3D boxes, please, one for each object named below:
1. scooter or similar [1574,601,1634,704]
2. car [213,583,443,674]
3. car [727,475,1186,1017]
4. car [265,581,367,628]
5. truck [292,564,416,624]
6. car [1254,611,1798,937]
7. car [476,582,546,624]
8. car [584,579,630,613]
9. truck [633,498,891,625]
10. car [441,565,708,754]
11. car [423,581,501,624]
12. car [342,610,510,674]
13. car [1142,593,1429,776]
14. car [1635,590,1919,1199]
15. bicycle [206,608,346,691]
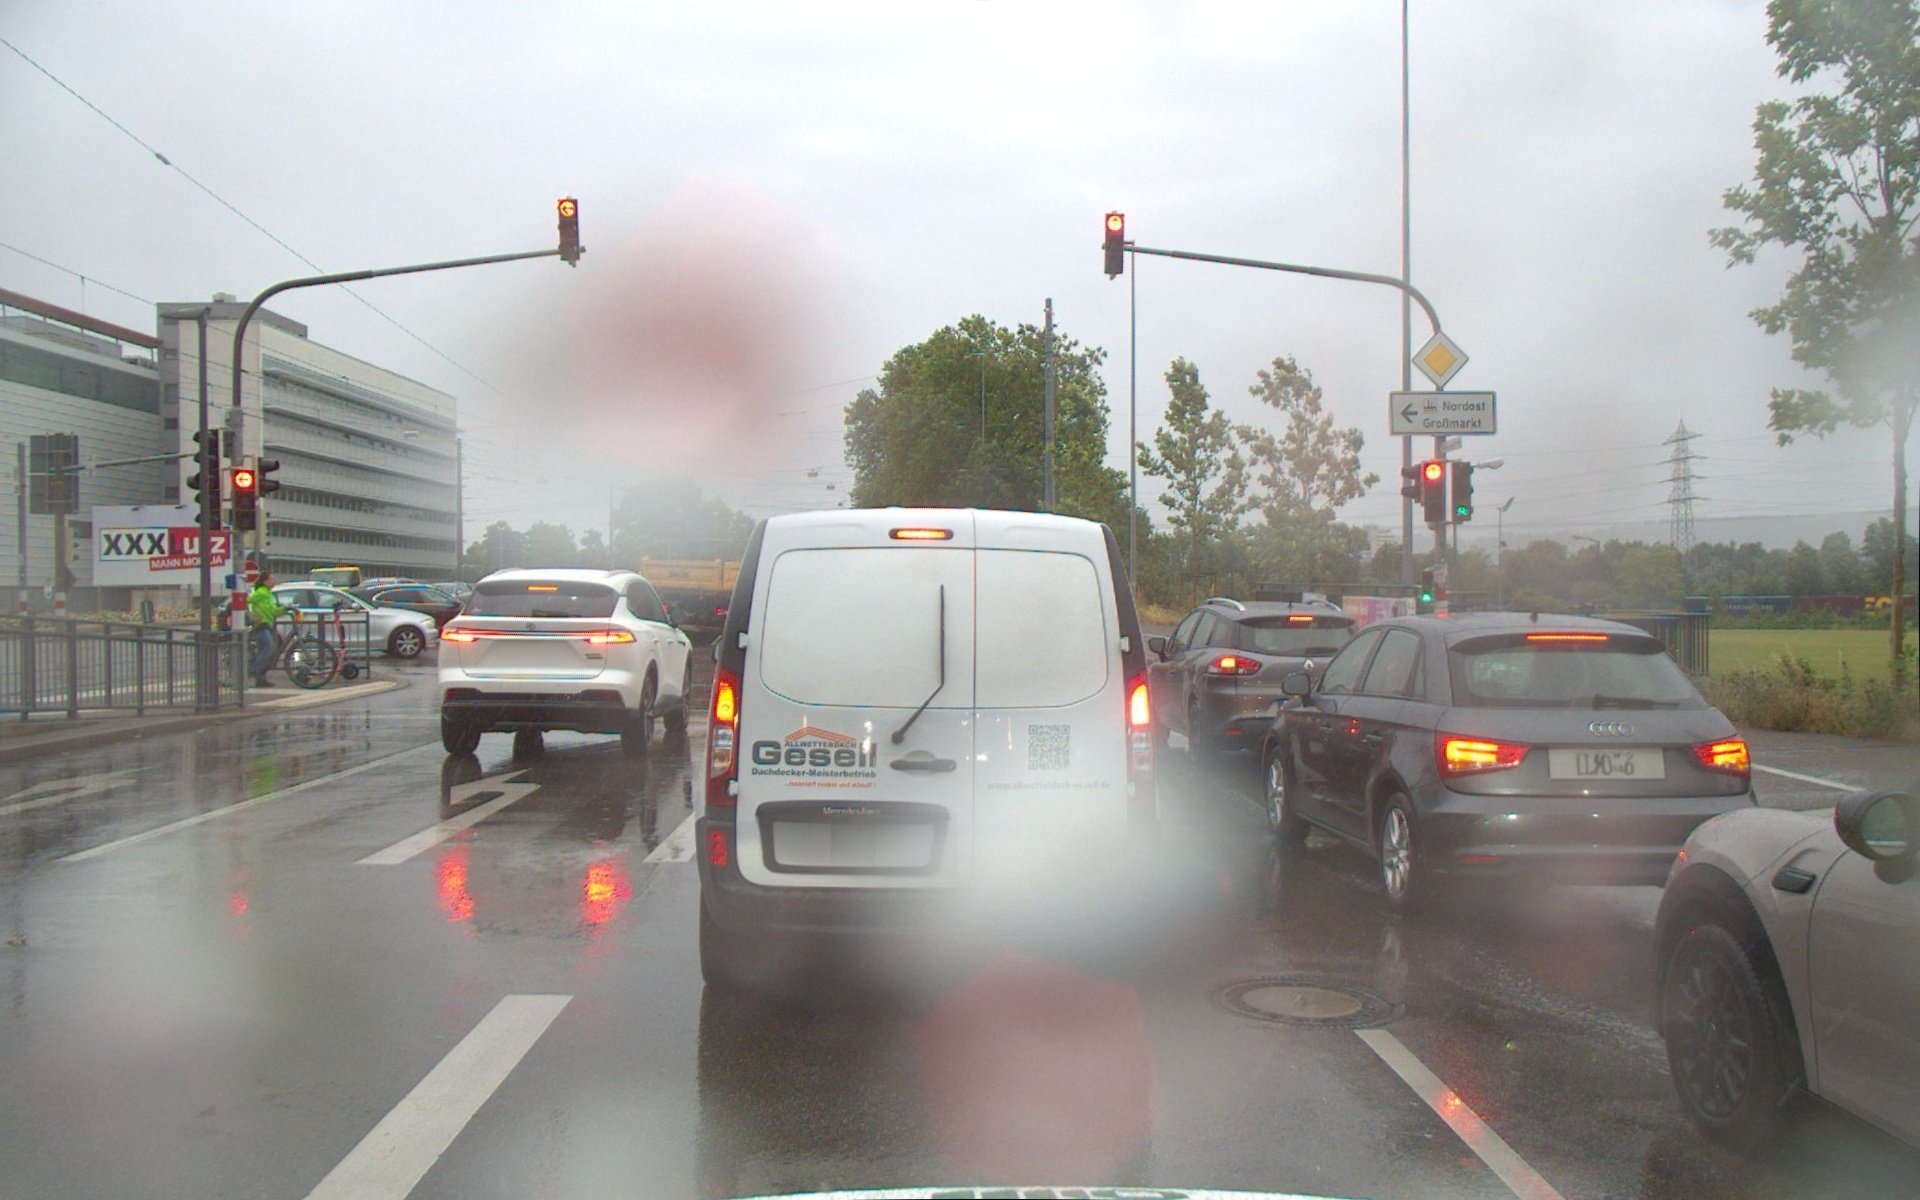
[{"bbox_3d":[7.599,0.606,19.534,0.240,1.178,1.186,1,0,1],"label":"scooter or similar"},{"bbox_3d":[-12.365,0.553,32.433,4.023,1.689,1.604,1,0,-30],"label":"car"},{"bbox_3d":[-0.035,0.498,7.586,1.534,1.819,3.999,0,0,-1],"label":"car"},{"bbox_3d":[-21.825,0.155,56.188,1.662,1.518,3.878,1,0,5],"label":"car"},{"bbox_3d":[-25.107,-0.232,68.919,2.303,2.319,7.632,1,0,0],"label":"truck"},{"bbox_3d":[2.774,0.768,8.951,1.596,1.368,3.622,1,0,-2],"label":"car"},{"bbox_3d":[-20.902,0.144,77.112,1.889,1.859,4.002,1,0,4],"label":"car"},{"bbox_3d":[-22.107,-0.217,103.638,1.952,2.049,4.000,1,0,1],"label":"car"},{"bbox_3d":[-4.750,-0.850,41.199,2.584,2.865,7.130,0,0,30],"label":"truck"},{"bbox_3d":[-3.578,0.479,16.109,1.694,1.562,4.296,1,1,-2],"label":"car"},{"bbox_3d":[-21.059,0.119,70.108,1.853,1.729,4.001,1,0,3],"label":"car"},{"bbox_3d":[-12.646,0.991,39.386,3.670,1.435,1.833,1,0,-15],"label":"car"},{"bbox_3d":[2.898,0.691,15.549,1.822,1.453,3.806,1,1,-2],"label":"car"},{"bbox_3d":[2.934,0.761,3.188,1.679,1.534,3.622,1,0,-2],"label":"car"},{"bbox_3d":[-9.612,0.691,23.257,1.716,1.052,0.414,4,-1,-3],"label":"bicycle"}]
